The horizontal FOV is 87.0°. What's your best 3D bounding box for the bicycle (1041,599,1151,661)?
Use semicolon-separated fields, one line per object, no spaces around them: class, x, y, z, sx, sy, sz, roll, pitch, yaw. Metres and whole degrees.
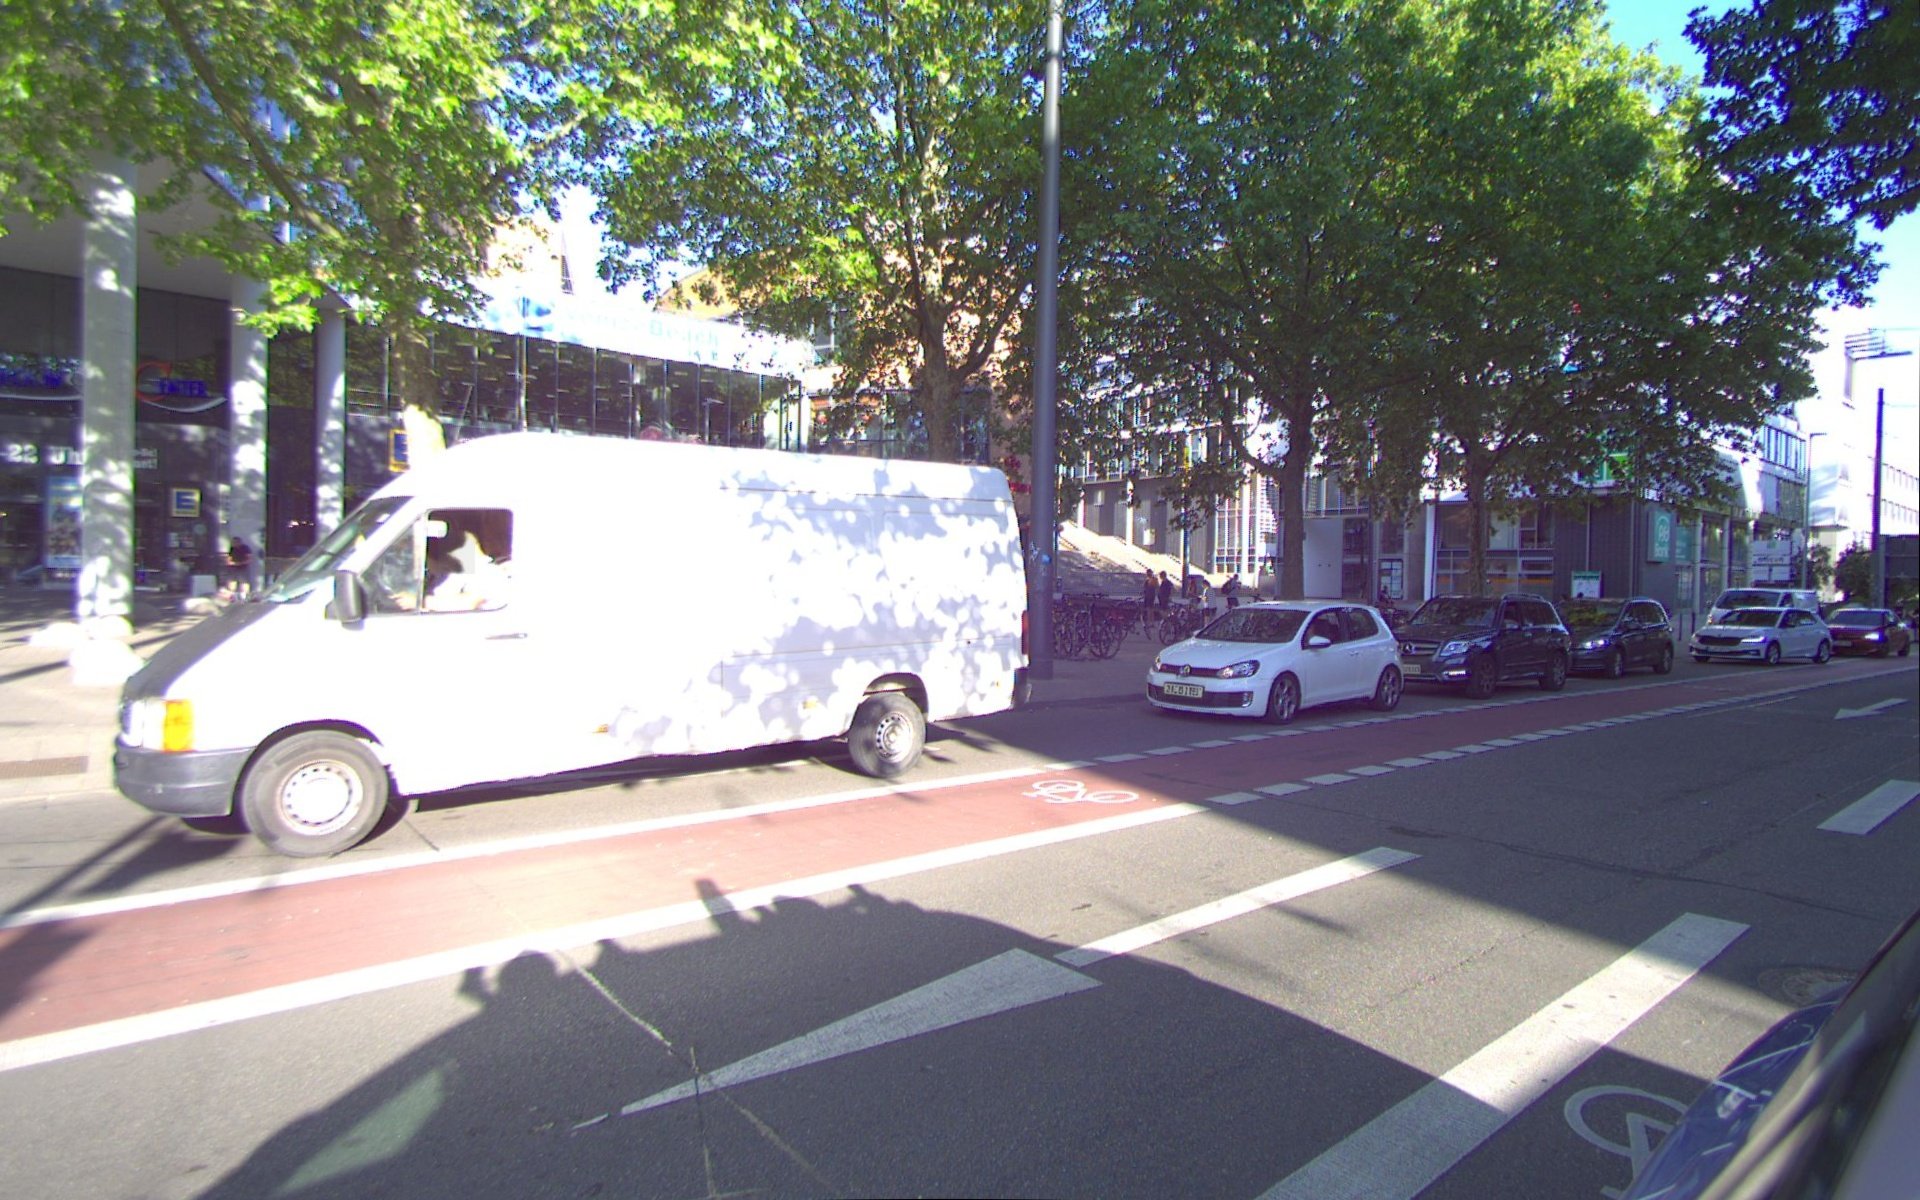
bicycle;2.583;0.528;19.063;2.295;1.073;0.682;-1;1;-39

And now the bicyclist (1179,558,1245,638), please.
bicyclist;6.626;-0.073;26.652;1.132;2.039;1.301;0;1;-24

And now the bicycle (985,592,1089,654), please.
bicycle;1.582;0.441;20.497;2.263;1.177;0.671;-1;0;-38

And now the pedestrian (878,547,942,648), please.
pedestrian;-1.029;-0.067;21.127;0.922;2.039;1.085;2;1;24

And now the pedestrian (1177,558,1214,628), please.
pedestrian;7.814;-0.236;33.613;0.884;2.261;0.845;0;0;-19

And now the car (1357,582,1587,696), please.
car;8.468;0.552;16.619;4.172;1.656;1.769;0;0;-38

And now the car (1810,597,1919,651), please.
car;27.253;0.667;30.163;4.114;1.508;1.837;0;-1;-34

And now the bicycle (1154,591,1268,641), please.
bicycle;6.570;0.386;26.790;1.124;1.097;3.342;0;2;-23

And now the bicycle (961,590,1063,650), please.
bicycle;1.096;0.383;21.072;2.251;1.177;0.657;-1;0;-38

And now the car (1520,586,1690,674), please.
car;13.609;0.561;21.270;4.311;1.656;1.710;0;0;-39

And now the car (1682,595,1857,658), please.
car;20.866;0.644;26.088;4.108;1.508;1.840;0;0;-24

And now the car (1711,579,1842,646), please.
car;26.354;0.358;32.593;5.808;1.989;1.934;0;0;-37

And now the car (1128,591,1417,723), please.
car;4.097;0.618;13.008;3.914;1.446;1.639;0;0;-38

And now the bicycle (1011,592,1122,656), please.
bicycle;2.115;0.433;19.891;2.355;1.177;0.750;-1;0;-40

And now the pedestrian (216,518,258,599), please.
pedestrian;-18.739;-1.056;26.255;0.843;2.039;1.024;0;0;-34

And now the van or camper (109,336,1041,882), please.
van or camper;-2.347;0.011;7.770;6.385;2.647;2.003;0;1;-41

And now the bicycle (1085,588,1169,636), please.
bicycle;4.504;0.291;27.120;2.653;1.215;0.698;-1;1;-41

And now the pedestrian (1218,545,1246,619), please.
pedestrian;10.003;-0.648;37.195;0.967;2.681;0.897;0;0;18

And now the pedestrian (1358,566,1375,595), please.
pedestrian;28.874;-1.350;71.923;0.860;2.039;0.796;0;0;-41

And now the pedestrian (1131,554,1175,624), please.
pedestrian;6.317;-0.363;33.212;1.195;2.276;1.052;0;0;-3

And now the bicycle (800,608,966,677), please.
bicycle;-1.178;0.638;16.037;2.591;0.960;0.924;-1;0;-41
